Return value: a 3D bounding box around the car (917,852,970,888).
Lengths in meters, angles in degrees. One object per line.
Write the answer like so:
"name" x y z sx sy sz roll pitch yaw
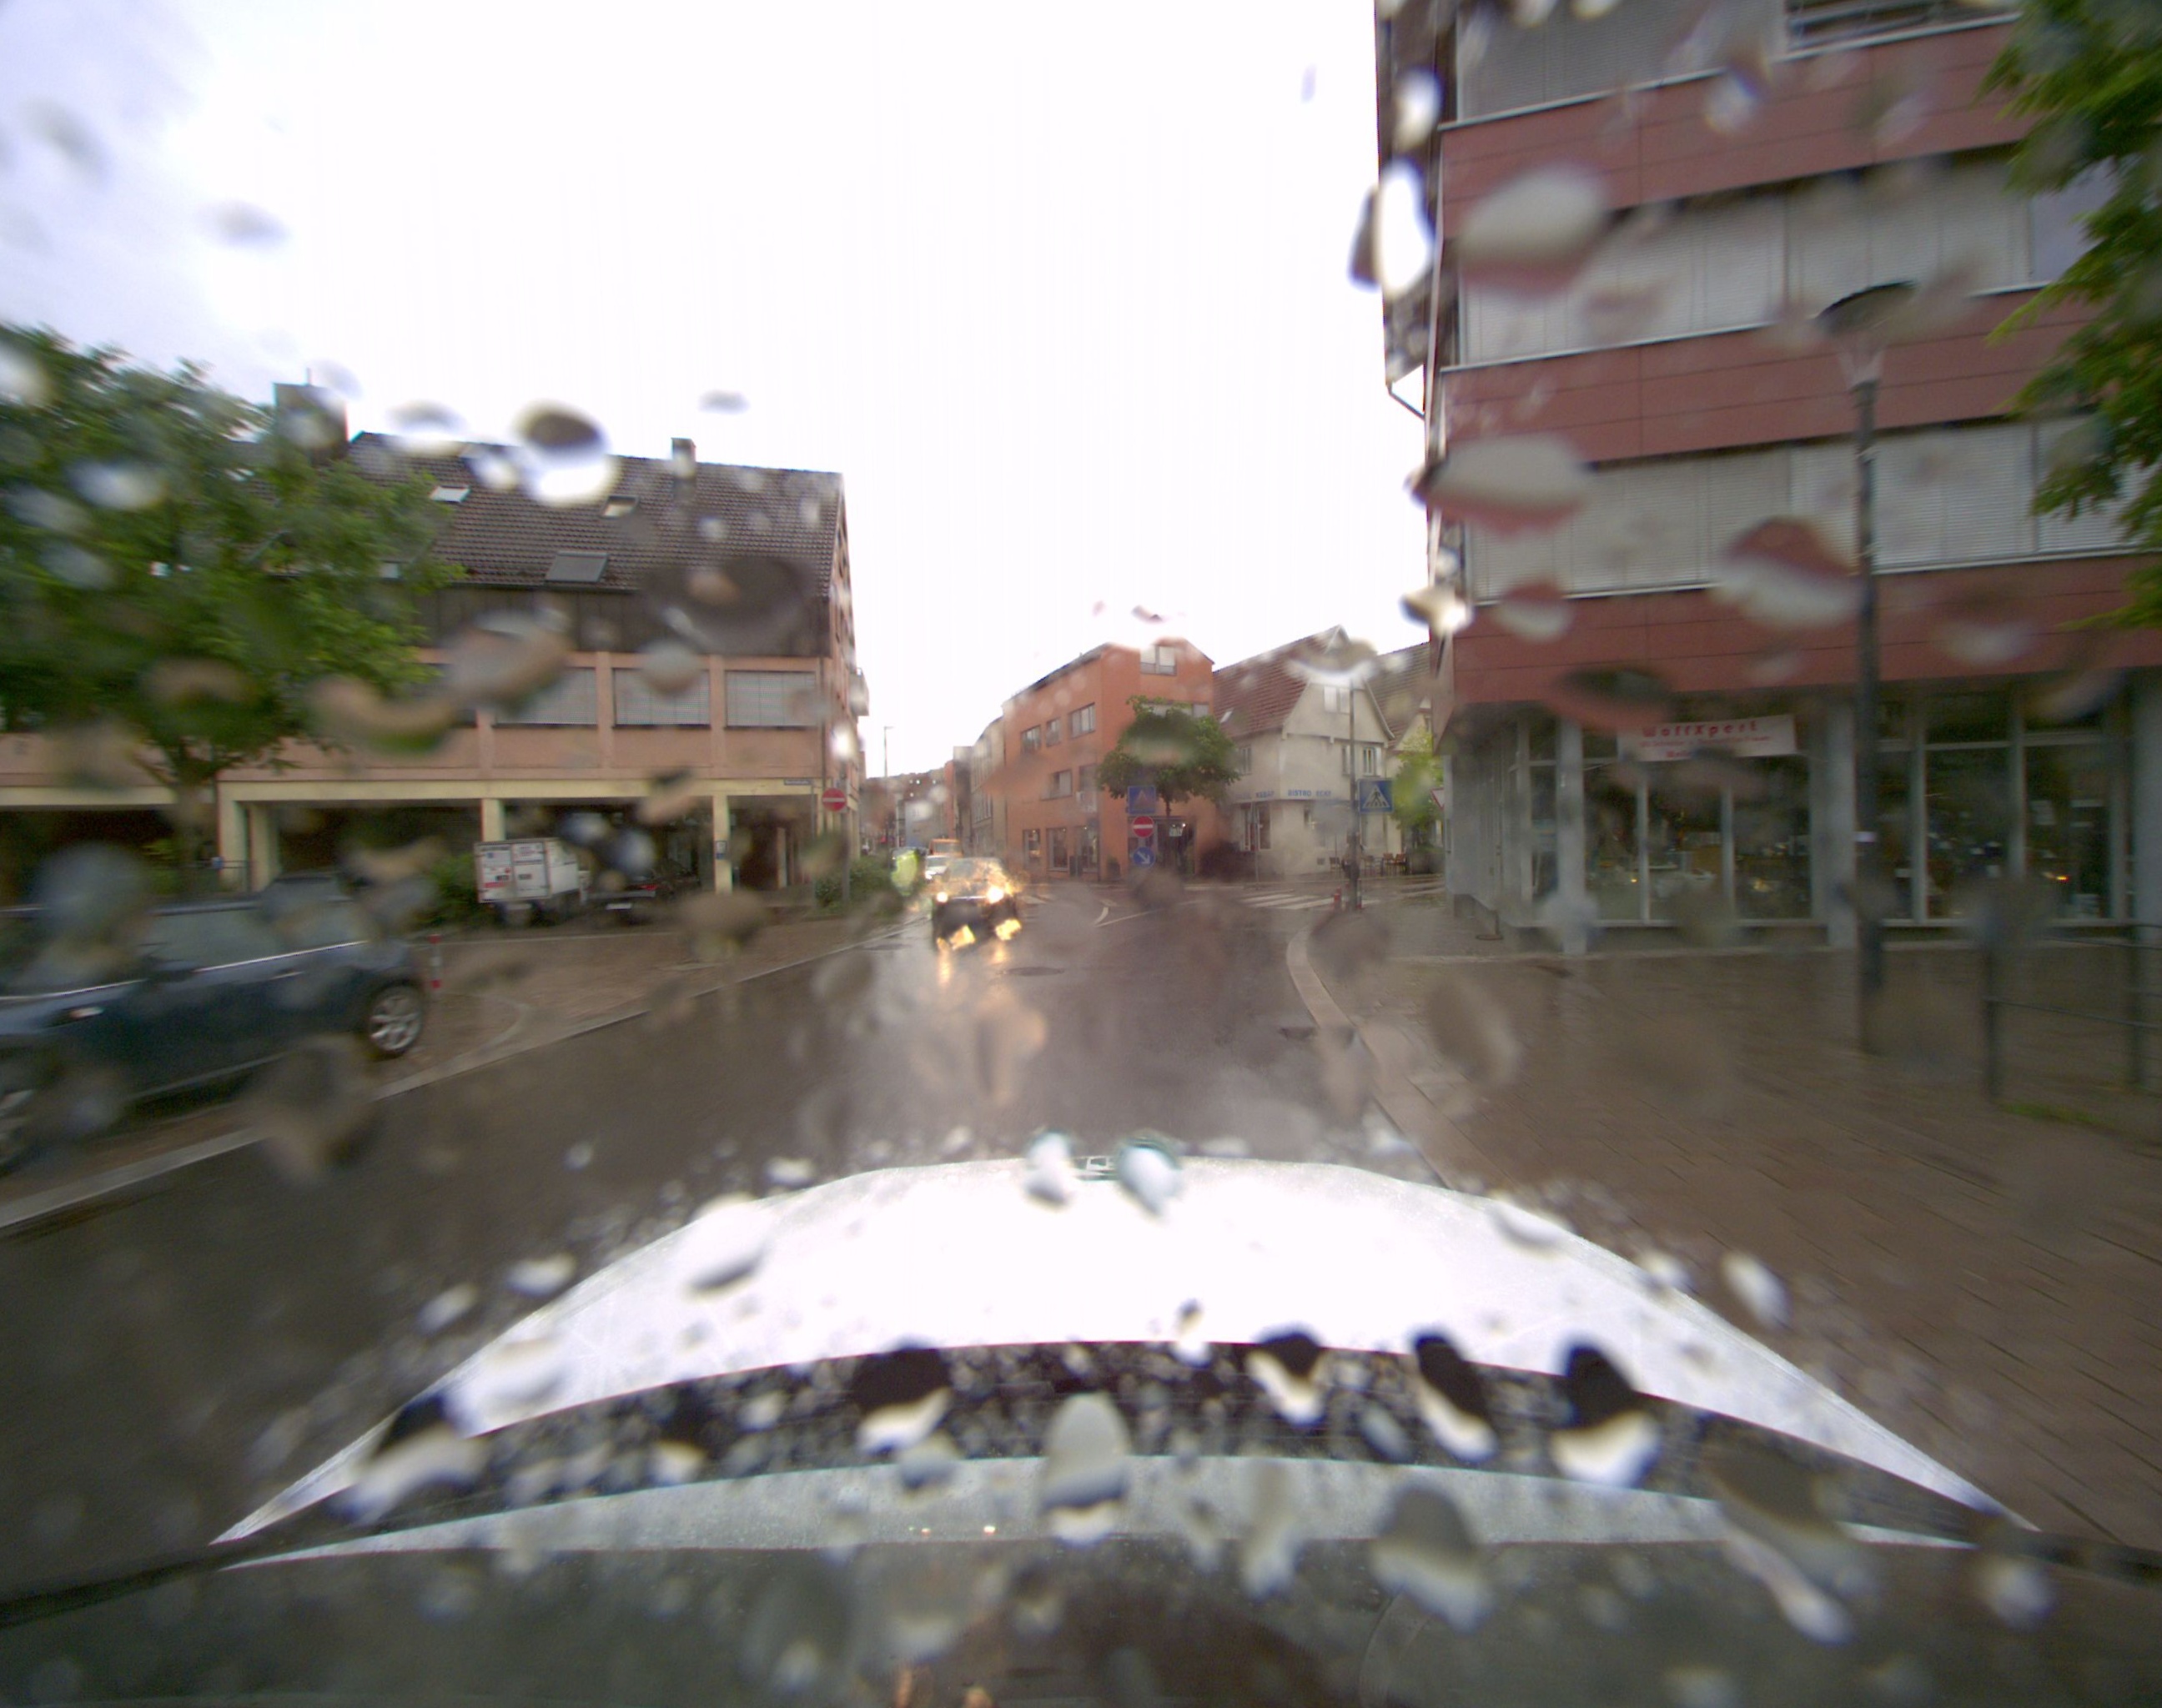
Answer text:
"car" -6.081 0.654 35.652 1.996 1.441 4.145 -2 1 -13

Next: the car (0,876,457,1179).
"car" -6.416 0.944 5.287 1.709 1.458 3.909 -1 0 0

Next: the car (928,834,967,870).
"car" -8.935 -0.128 54.241 2.106 2.146 4.844 -3 0 -13

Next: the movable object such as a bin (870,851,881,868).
"movable object such as a bin" -17.917 0.478 71.057 0.836 1.382 0.849 -2 0 -17

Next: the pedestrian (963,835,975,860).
"pedestrian" -9.105 -0.557 66.328 0.868 2.013 0.704 -2 0 -16

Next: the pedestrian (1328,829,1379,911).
"pedestrian" 6.562 0.366 19.611 0.761 1.914 0.854 -1 0 -35

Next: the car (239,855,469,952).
"car" -16.309 1.005 18.607 1.810 1.617 3.994 -2 5 -6

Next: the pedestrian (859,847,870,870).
"pedestrian" -18.637 0.386 70.197 0.836 2.013 0.849 -2 0 -17

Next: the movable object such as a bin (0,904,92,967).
"movable object such as a bin" -21.199 1.644 16.518 0.996 1.096 0.924 -3 4 -2

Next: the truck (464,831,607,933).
"truck" -13.215 0.581 19.965 1.597 2.062 3.183 -3 5 -10

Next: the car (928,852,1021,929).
"car" -2.280 0.727 18.341 1.644 1.445 3.980 -3 0 -2

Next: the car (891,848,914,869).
"car" -18.008 0.447 82.270 1.994 2.013 4.348 -3 0 -10

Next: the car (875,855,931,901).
"car" -6.259 0.787 28.400 1.717 1.458 3.890 -1 0 -15

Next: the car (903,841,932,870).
"car" -13.575 0.133 67.390 2.106 2.146 4.844 -3 0 -13

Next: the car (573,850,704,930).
"car" -10.790 0.790 20.163 1.577 1.478 3.813 -2 5 -9
